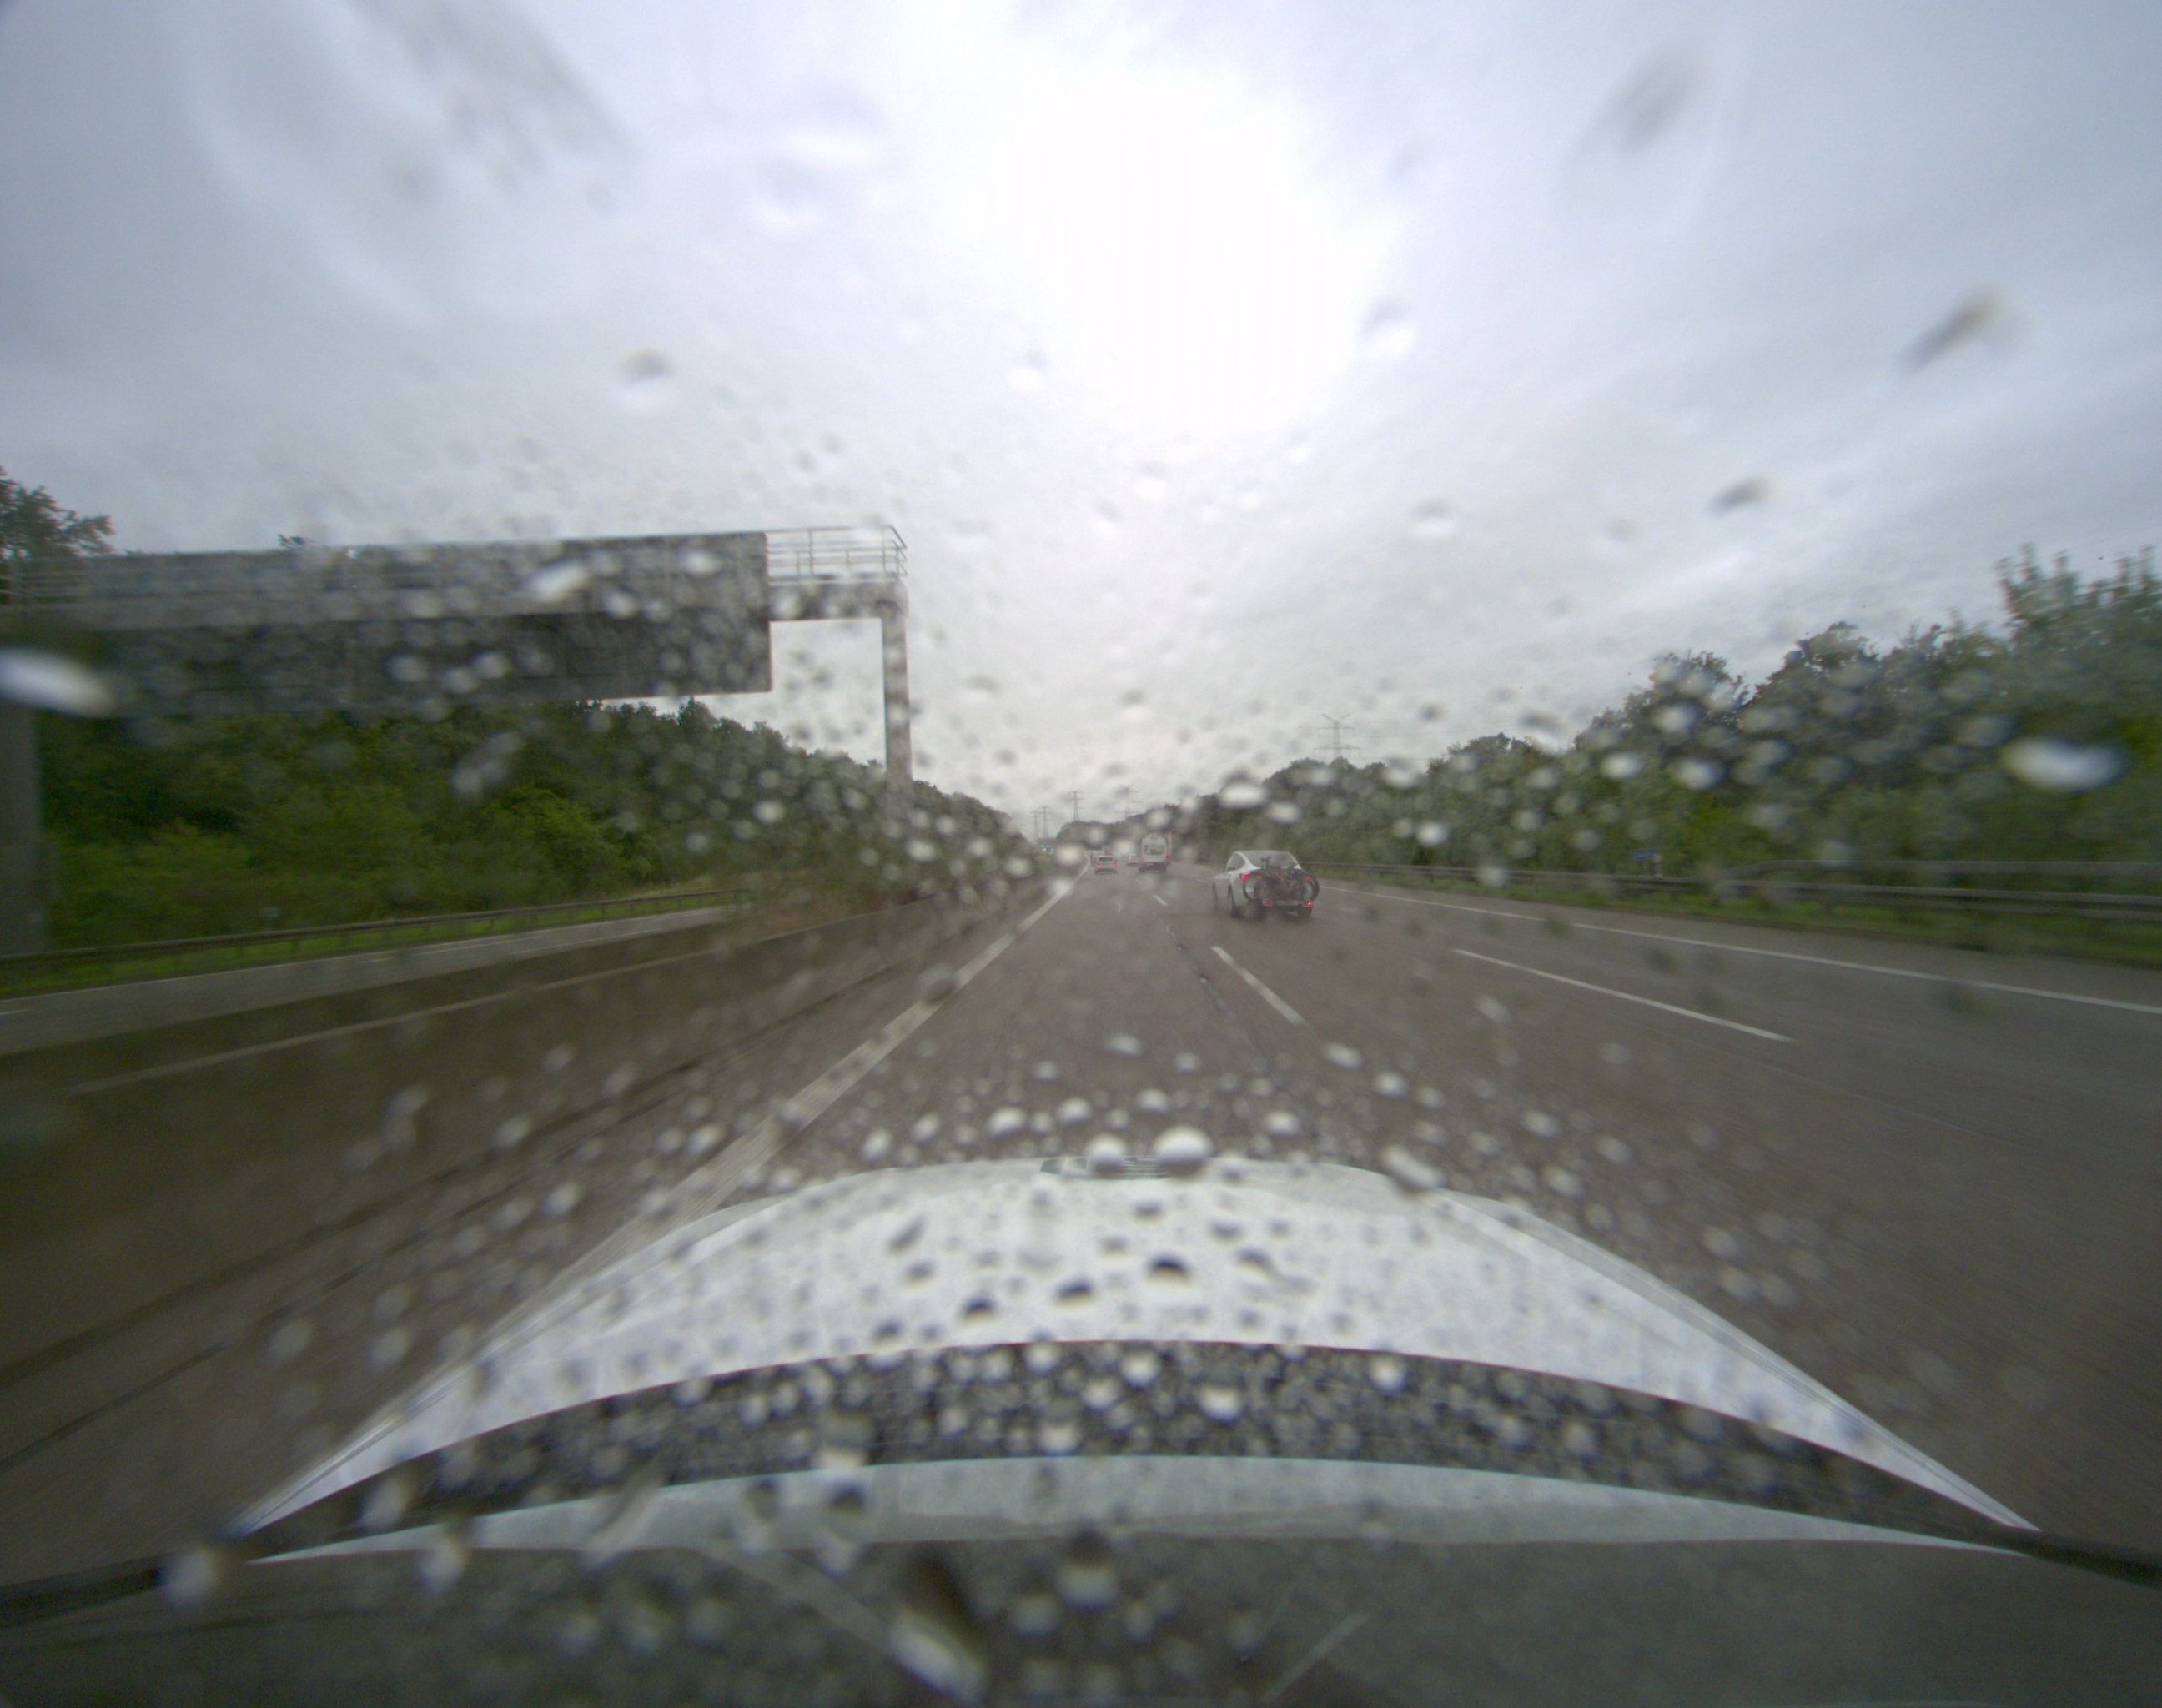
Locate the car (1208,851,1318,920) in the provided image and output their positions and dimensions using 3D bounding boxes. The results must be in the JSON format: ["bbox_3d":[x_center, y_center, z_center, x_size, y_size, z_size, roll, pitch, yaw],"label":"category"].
[{"bbox_3d":[4.558,0.722,21.178,1.853,1.568,4.965,-1,0,2],"label":"car"}]

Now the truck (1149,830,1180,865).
[{"bbox_3d":[11.156,-0.849,110.236,3.587,4.332,13.213,-2,0,4],"label":"truck"}]

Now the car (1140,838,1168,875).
[{"bbox_3d":[5.905,0.235,66.236,1.985,2.864,4.003,-2,-1,3],"label":"car"}]

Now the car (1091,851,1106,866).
[{"bbox_3d":[2.135,0.547,98.212,1.839,1.772,4.002,0,0,2],"label":"car"}]

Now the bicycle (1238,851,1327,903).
[{"bbox_3d":[4.487,0.518,18.214,1.747,1.090,0.914,-1,-1,1],"label":"bicycle"}]

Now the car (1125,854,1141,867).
[{"bbox_3d":[6.314,0.774,98.485,1.849,1.422,4.003,-1,0,3],"label":"car"}]

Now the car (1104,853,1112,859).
[{"bbox_3d":[7.238,0.586,215.521,1.986,1.574,4.002,-3,-1,2],"label":"car"}]

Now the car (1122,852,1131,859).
[{"bbox_3d":[11.033,0.359,197.180,1.986,1.486,4.001,-4,0,1],"label":"car"}]

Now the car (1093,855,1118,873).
[{"bbox_3d":[1.991,0.792,65.370,1.859,1.288,4.002,-2,-1,2],"label":"car"}]
